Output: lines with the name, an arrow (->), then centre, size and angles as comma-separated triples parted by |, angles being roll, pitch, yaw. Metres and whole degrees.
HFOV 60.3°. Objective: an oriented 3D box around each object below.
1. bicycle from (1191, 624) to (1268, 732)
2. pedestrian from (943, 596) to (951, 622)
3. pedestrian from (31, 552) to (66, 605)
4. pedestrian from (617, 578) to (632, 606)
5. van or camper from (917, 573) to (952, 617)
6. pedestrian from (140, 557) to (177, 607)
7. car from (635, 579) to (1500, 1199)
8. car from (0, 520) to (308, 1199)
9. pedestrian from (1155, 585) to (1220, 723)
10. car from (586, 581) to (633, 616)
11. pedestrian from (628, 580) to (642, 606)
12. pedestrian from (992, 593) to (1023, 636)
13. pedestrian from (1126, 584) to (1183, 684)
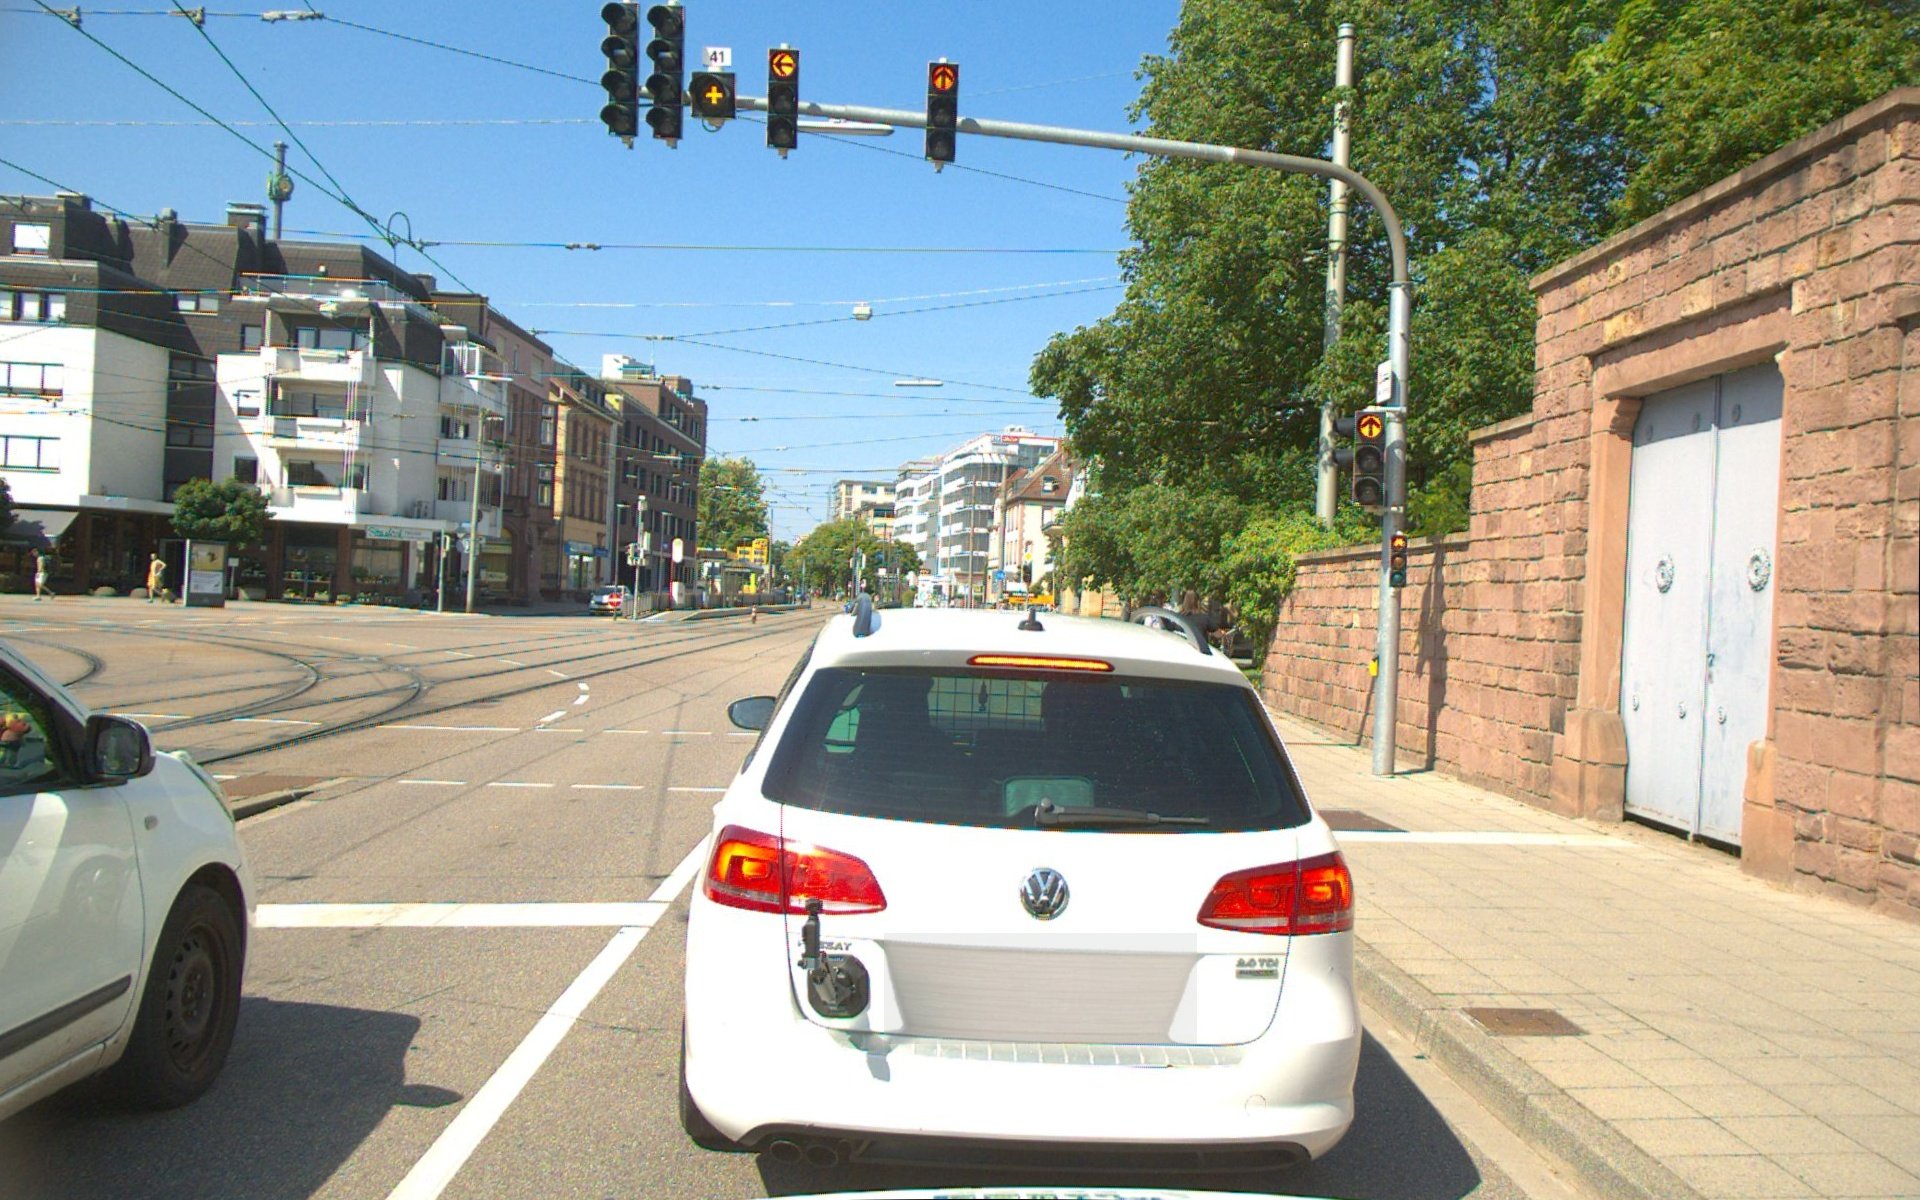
bicycle -> 3.194, 0.883, 19.472 | 0.693, 1.109, 2.028 | 1, 1, 15
pedestrian -> -1.235, 0.837, 153.606 | 0.675, 2.366, 1.232 | 0, -1, 0
pedestrian -> -31.379, -0.730, 56.928 | 0.964, 1.773, 0.854 | 1, -1, -35
pedestrian -> -21.843, -0.501, 107.723 | 0.845, 1.773, 0.973 | 1, -1, -6
van or camper -> -1.881, -0.325, 120.270 | 2.515, 3.147, 5.701 | 0, -1, -1
pedestrian -> -29.040, -0.643, 59.948 | 0.850, 1.773, 0.968 | -1, -1, 44
car -> 0.191, 0.711, 5.440 | 1.771, 1.473, 3.999 | 2, 0, -1
car -> -2.834, 0.621, 3.302 | 1.608, 1.593, 3.803 | 1, 1, -1
pedestrian -> 2.729, 0.628, 19.773 | 0.659, 1.599, 0.749 | 1, 1, 15
car -> -17.037, -0.059, 80.522 | 1.706, 1.646, 3.996 | 0, -1, -4
pedestrian -> -22.559, -0.502, 114.651 | 0.845, 1.773, 0.973 | 1, -1, -6
pedestrian -> 1.979, 0.600, 69.091 | 0.955, 1.773, 0.861 | 0, -1, 36
pedestrian -> 3.332, 0.587, 28.405 | 0.932, 1.680, 0.975 | 0, -1, 6
